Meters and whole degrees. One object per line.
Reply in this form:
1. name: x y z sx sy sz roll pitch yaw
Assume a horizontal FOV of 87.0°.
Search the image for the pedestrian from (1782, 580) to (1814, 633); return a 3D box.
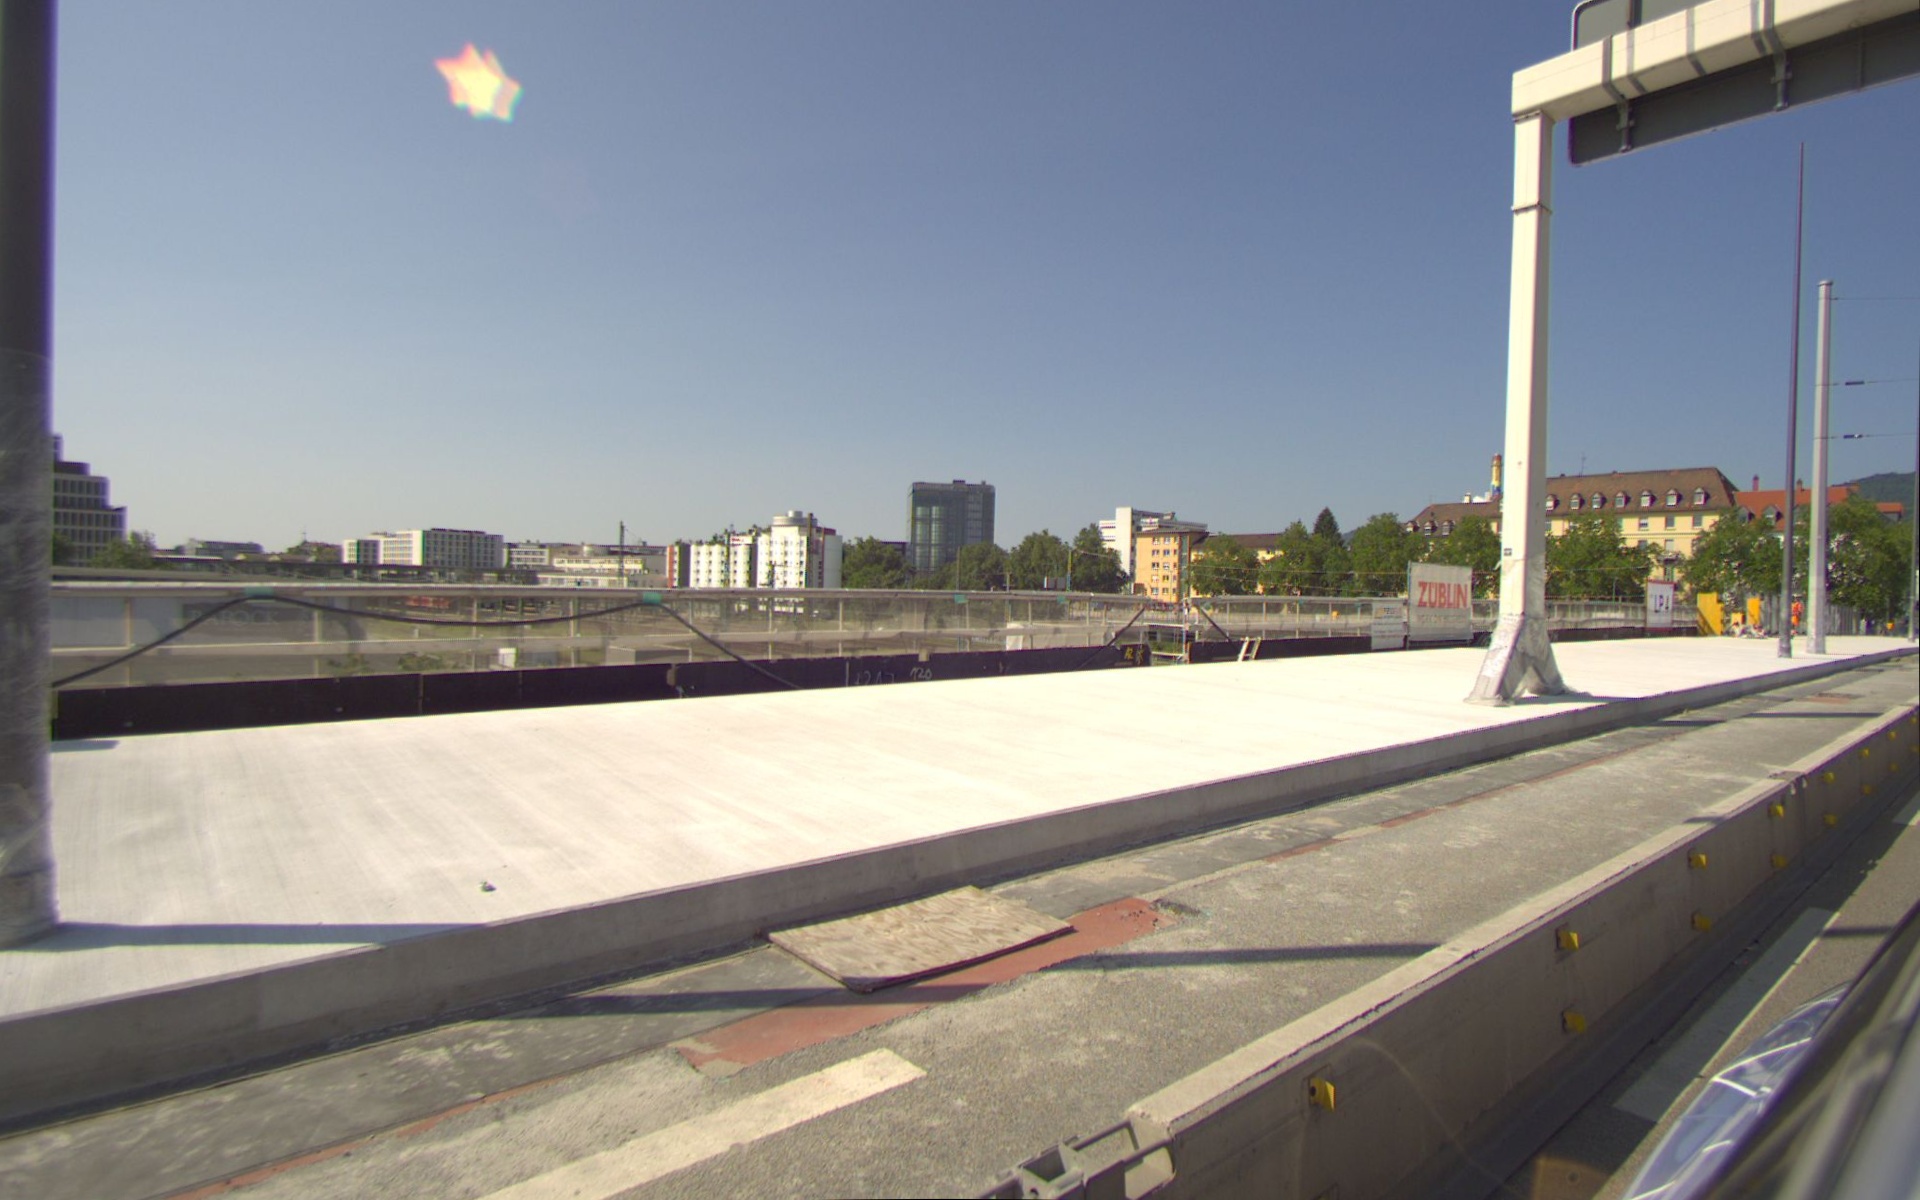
1. pedestrian: 31.905 0.246 38.518 0.999 1.989 0.732 1 1 -42
